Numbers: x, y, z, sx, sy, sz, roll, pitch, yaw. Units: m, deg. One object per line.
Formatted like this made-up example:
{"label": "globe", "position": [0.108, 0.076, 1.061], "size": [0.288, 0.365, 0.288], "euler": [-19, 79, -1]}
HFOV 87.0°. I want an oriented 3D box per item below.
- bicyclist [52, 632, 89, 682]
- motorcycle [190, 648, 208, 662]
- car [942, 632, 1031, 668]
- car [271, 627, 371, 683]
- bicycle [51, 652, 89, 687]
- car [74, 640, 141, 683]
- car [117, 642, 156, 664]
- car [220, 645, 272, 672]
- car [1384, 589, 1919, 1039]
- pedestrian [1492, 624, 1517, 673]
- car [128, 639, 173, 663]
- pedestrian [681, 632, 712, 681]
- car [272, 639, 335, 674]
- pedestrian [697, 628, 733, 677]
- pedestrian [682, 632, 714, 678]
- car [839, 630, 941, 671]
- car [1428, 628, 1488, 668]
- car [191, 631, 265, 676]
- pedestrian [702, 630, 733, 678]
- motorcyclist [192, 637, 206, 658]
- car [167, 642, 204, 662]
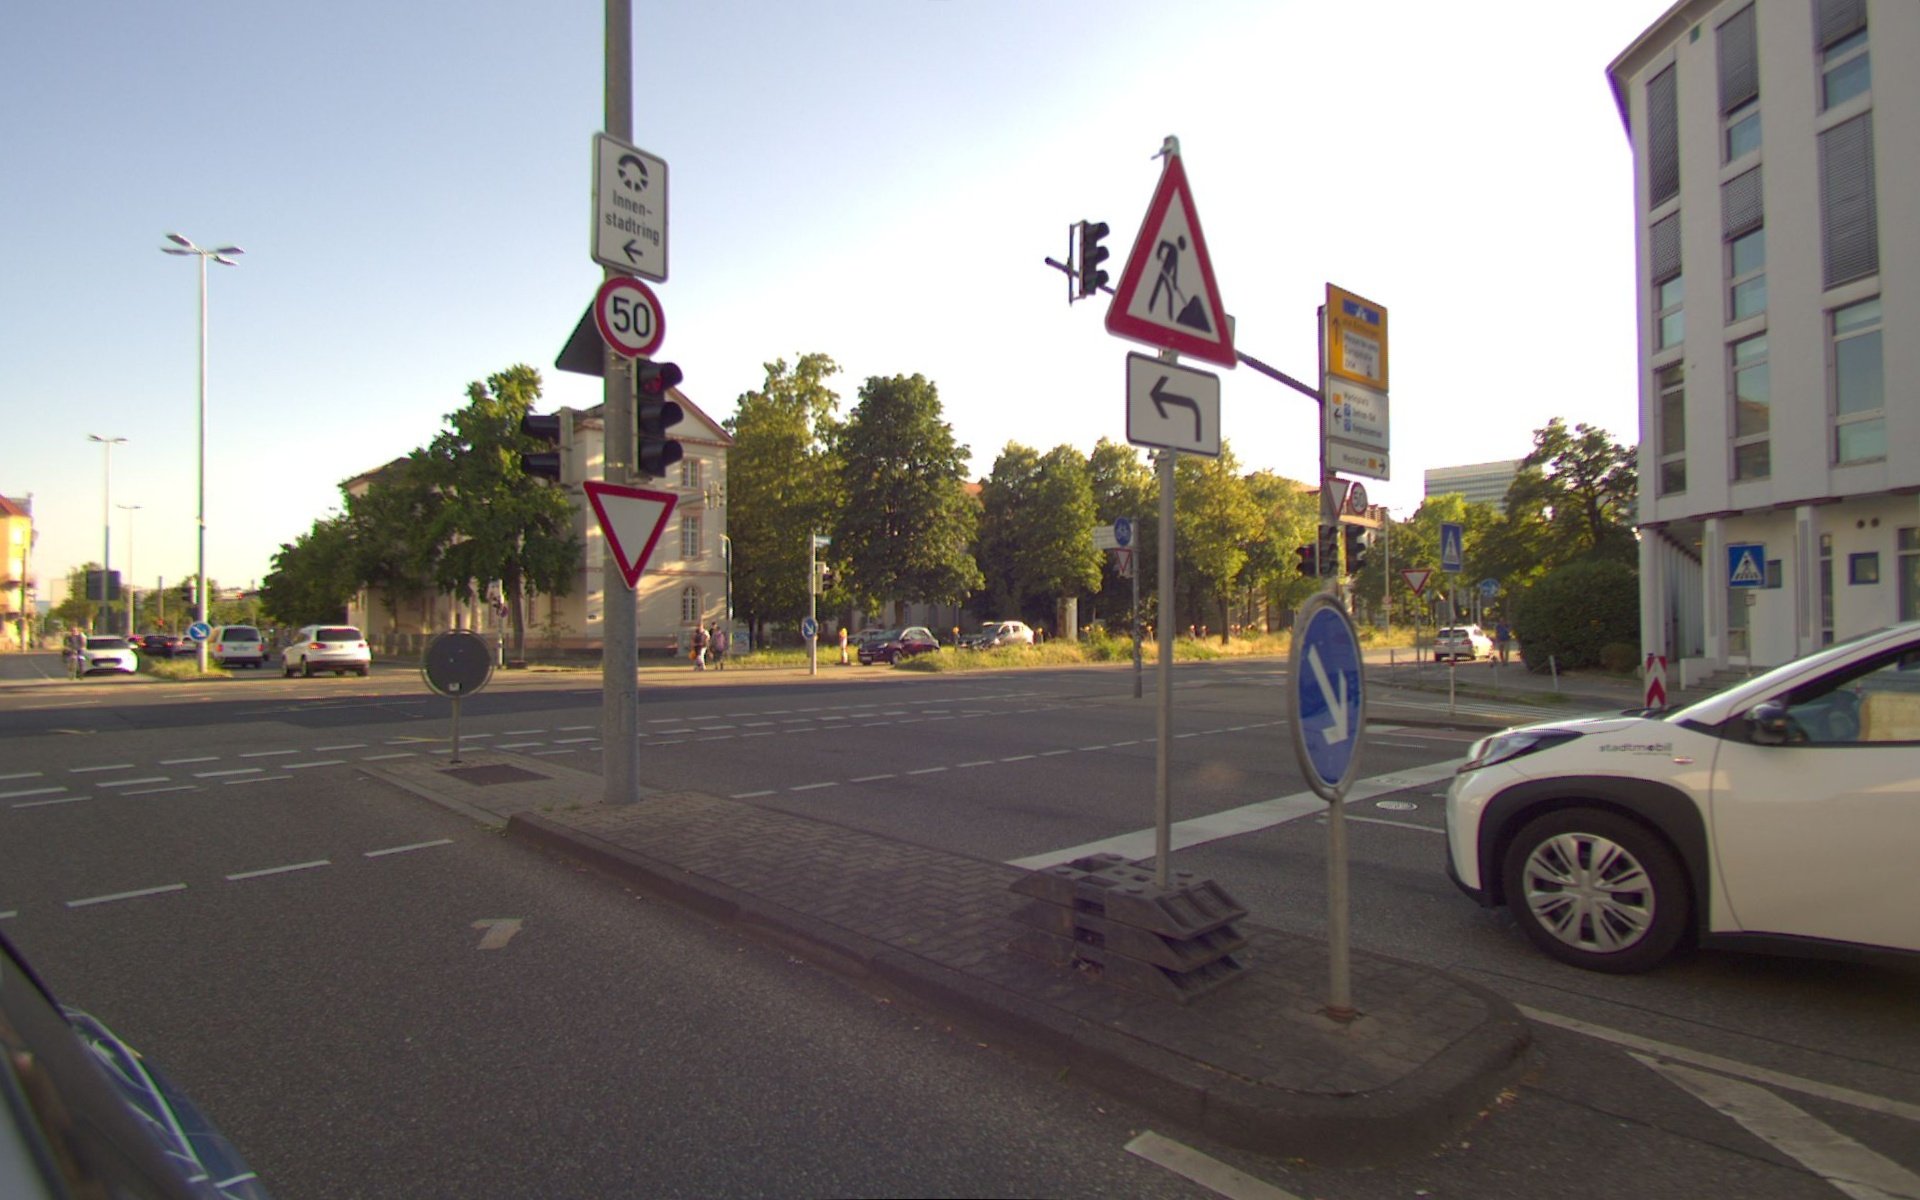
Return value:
{"label": "bicyclist", "position": [-29.827, 1.896, 33.934], "size": [1.024, 1.616, 0.827], "euler": [-3, -3, 45]}
{"label": "motorcycle", "position": [-52.620, 3.797, 69.951], "size": [2.161, 0.886, 0.631], "euler": [-3, -3, 43]}
{"label": "car", "position": [1.165, 2.144, 44.014], "size": [2.000, 1.457, 3.596], "euler": [-3, -3, 42]}
{"label": "car", "position": [-20.950, 1.772, 33.121], "size": [4.443, 1.719, 1.807], "euler": [-3, -3, 44]}
{"label": "bicycle", "position": [-29.784, 2.314, 33.851], "size": [0.822, 1.116, 2.082], "euler": [1, -3, -45]}
{"label": "car", "position": [-32.000, 2.276, 37.954], "size": [1.739, 1.510, 3.711], "euler": [1, -3, -43]}
{"label": "car", "position": [-59.996, 3.843, 73.704], "size": [1.740, 1.474, 4.294], "euler": [1, -3, -45]}
{"label": "car", "position": [-41.469, 3.371, 58.742], "size": [1.740, 1.474, 4.294], "euler": [1, -3, -45]}
{"label": "car", "position": [3.937, 0.708, 3.812], "size": [1.806, 1.472, 3.905], "euler": [1, -3, -43]}
{"label": "pedestrian", "position": [20.053, 1.773, 37.259], "size": [0.697, 1.804, 0.476], "euler": [-2, -3, 36]}
{"label": "car", "position": [-50.893, 3.190, 63.615], "size": [1.740, 1.474, 4.294], "euler": [1, -3, -45]}
{"label": "pedestrian", "position": [-9.112, 1.952, 35.027], "size": [0.889, 1.663, 0.613], "euler": [-2, -3, 38]}
{"label": "car", "position": [-30.301, 2.586, 46.697], "size": [1.687, 1.489, 3.814], "euler": [1, -3, -45]}
{"label": "pedestrian", "position": [-9.502, 2.019, 39.192], "size": [1.168, 1.863, 0.810], "euler": [-2, -3, 38]}
{"label": "pedestrian", "position": [-9.994, 2.084, 38.541], "size": [1.083, 1.721, 0.670], "euler": [-2, -3, 38]}
{"label": "car", "position": [-2.674, 1.921, 39.159], "size": [2.000, 1.457, 3.596], "euler": [-3, -3, 42]}
{"label": "car", "position": [23.069, 2.187, 46.841], "size": [1.994, 1.741, 3.955], "euler": [-2, -2, 33]}
{"label": "car", "position": [-32.308, 2.323, 44.618], "size": [4.948, 1.861, 1.807], "euler": [-3, -3, 44]}
{"label": "pedestrian", "position": [-8.606, 1.909, 35.859], "size": [0.882, 1.663, 0.670], "euler": [-2, -3, 38]}
{"label": "motorcyclist", "position": [-52.606, 3.296, 69.964], "size": [0.756, 1.417, 0.612], "euler": [-3, -3, 43]}
{"label": "car", "position": [-59.911, 4.009, 78.243], "size": [1.740, 1.474, 4.294], "euler": [1, -3, -45]}
